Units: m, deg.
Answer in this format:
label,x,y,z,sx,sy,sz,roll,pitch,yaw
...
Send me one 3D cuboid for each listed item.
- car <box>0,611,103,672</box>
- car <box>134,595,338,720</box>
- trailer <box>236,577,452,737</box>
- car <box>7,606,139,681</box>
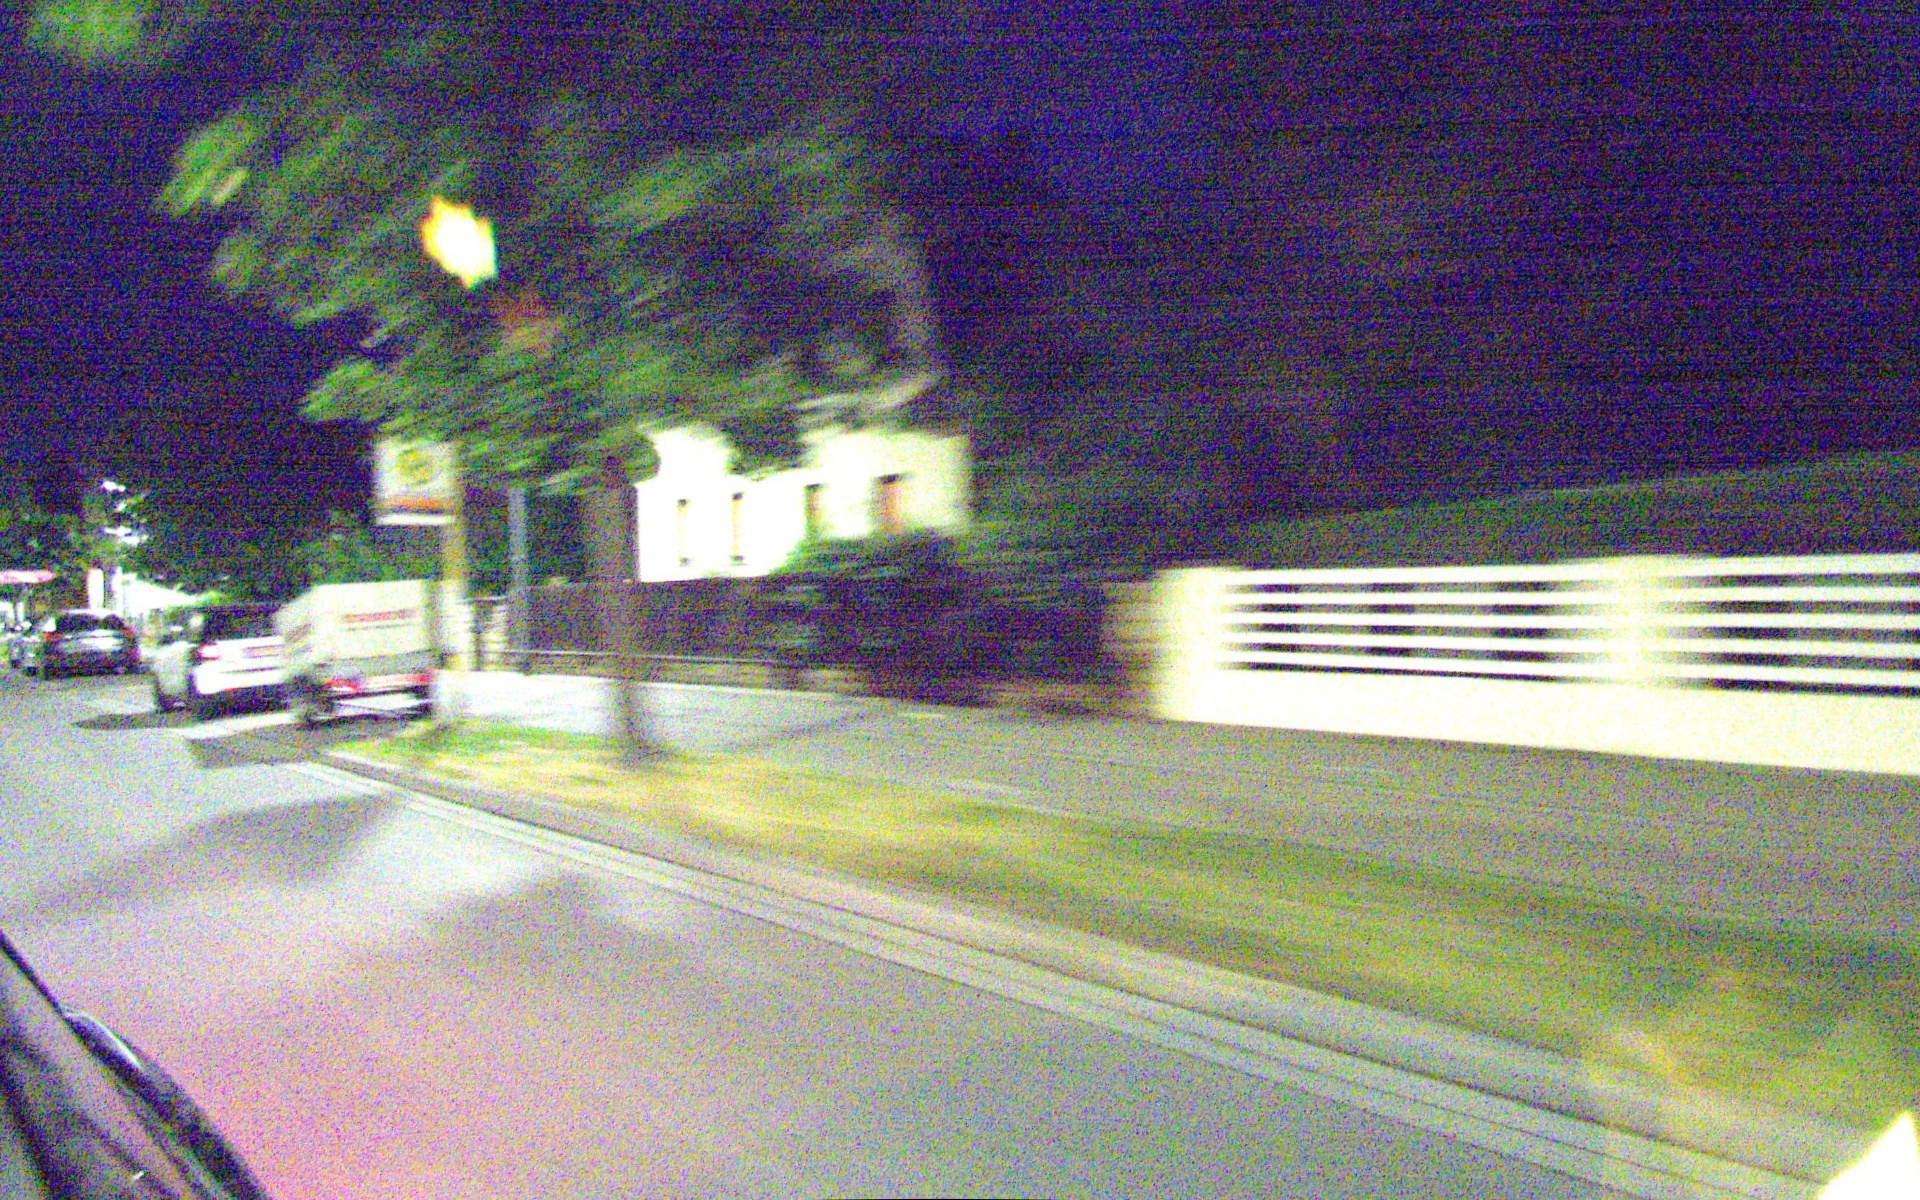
label,x,y,z,sx,sy,sz,roll,pitch,yaw
car,-24.940,1.090,27.699,4.277,1.522,1.670,-1,0,42
car,-10.587,0.764,14.750,2.976,1.533,1.655,-1,3,40
trailer,-7.917,0.640,12.892,3.427,1.700,1.432,-1,3,44
car,-20.951,0.974,23.848,4.276,1.530,1.748,-1,1,41
